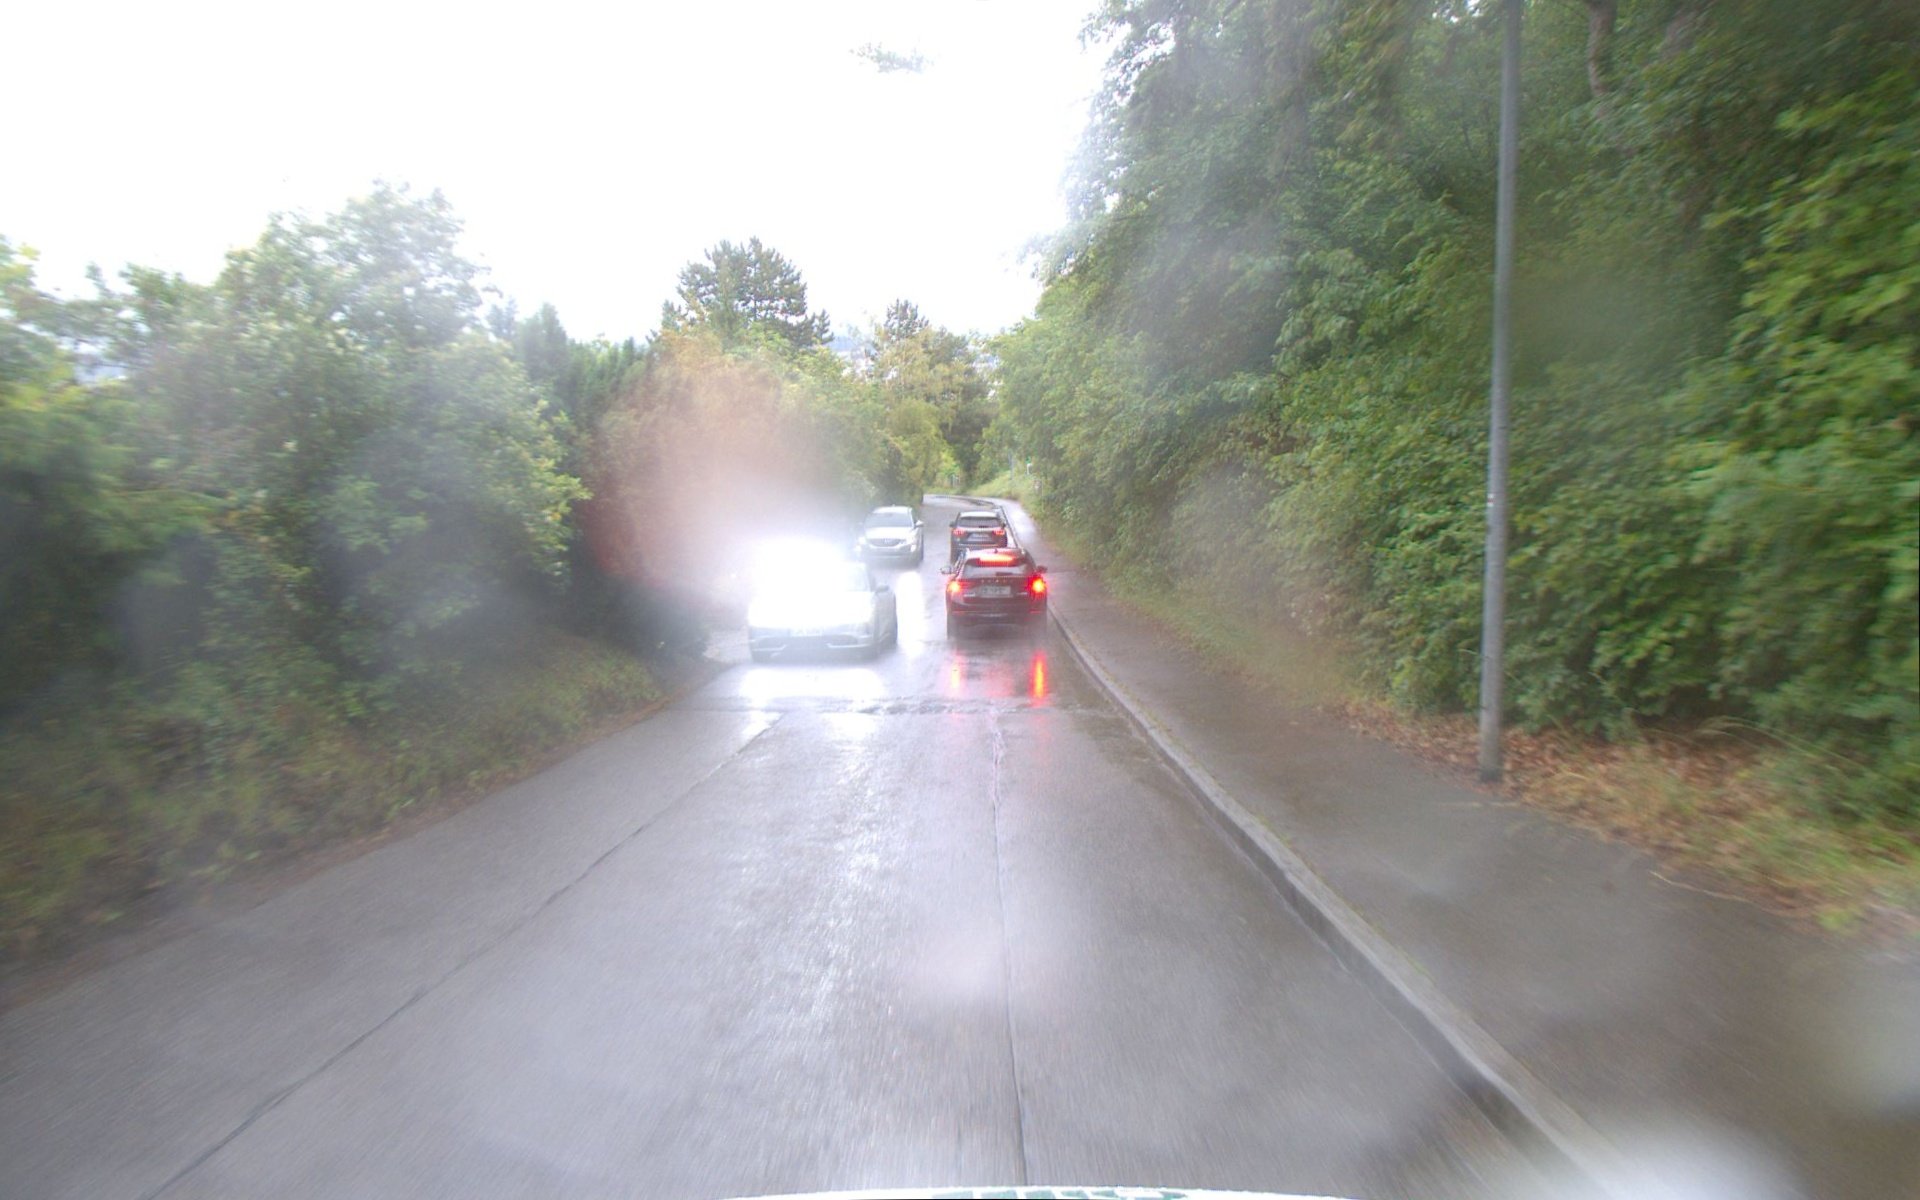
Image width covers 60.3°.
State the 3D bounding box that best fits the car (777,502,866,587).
[{"bbox_3d":[-3.315,-1.398,40.265,1.654,1.813,4.235,-2,5,1],"label":"car"}]

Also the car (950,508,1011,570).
[{"bbox_3d":[0.601,-1.887,51.920,1.825,1.774,3.999,-1,0,0],"label":"car"}]

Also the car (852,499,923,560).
[{"bbox_3d":[-2.160,-2.189,50.271,2.006,1.628,4.232,0,5,0],"label":"car"}]

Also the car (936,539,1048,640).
[{"bbox_3d":[0.509,-0.249,29.215,1.666,1.475,4.000,-2,4,-3],"label":"car"}]

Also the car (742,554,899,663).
[{"bbox_3d":[-2.100,0.117,26.196,1.900,1.549,4.580,-1,0,2],"label":"car"}]
